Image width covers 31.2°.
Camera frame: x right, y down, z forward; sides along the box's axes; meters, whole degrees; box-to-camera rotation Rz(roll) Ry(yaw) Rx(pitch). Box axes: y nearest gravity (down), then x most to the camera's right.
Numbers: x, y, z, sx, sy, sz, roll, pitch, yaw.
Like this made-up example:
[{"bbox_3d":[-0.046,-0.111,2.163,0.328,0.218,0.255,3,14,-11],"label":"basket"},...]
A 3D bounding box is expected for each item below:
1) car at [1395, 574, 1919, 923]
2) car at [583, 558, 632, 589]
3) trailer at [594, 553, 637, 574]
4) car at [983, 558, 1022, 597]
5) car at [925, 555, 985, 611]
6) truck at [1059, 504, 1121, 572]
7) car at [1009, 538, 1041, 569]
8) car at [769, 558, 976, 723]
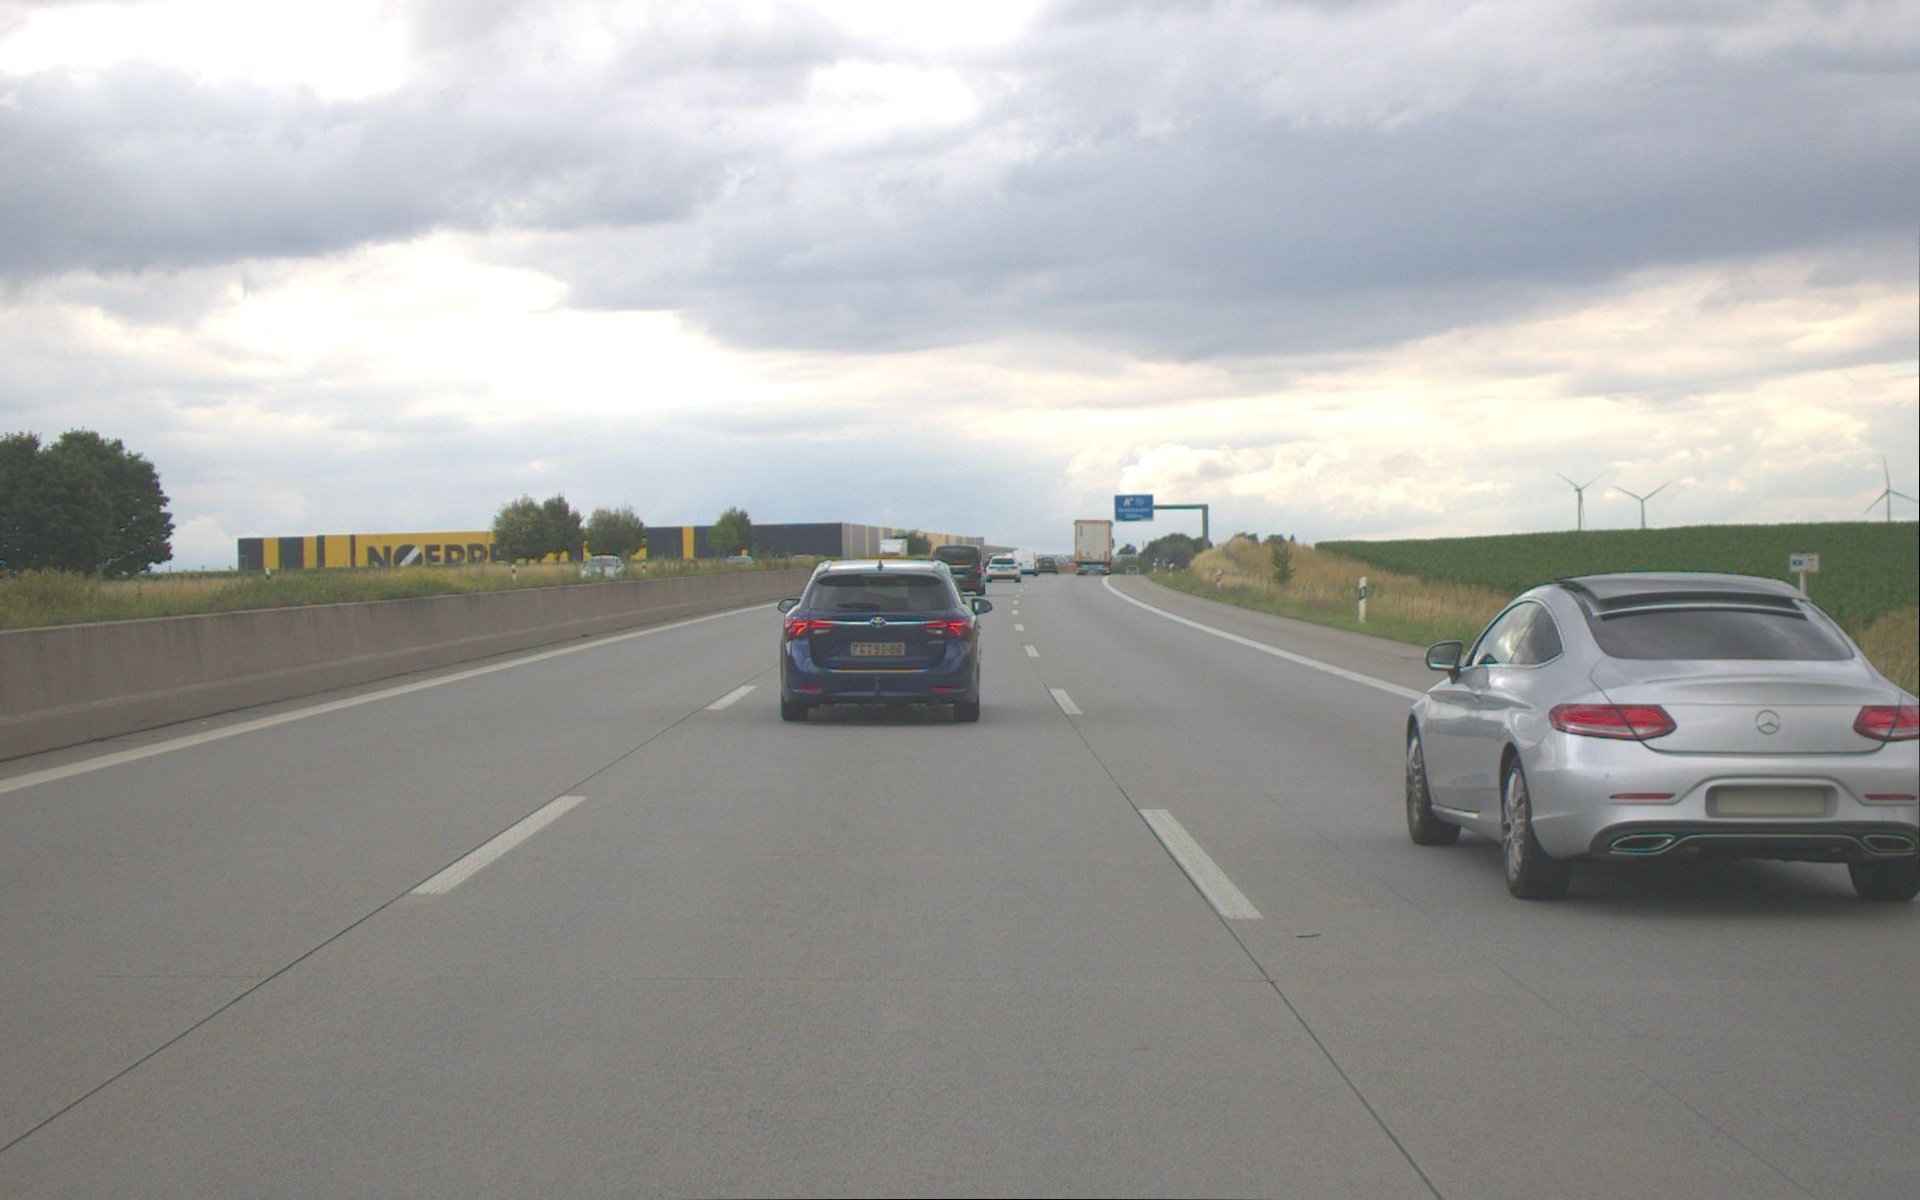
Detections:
[{"bbox_3d":[3.209,0.584,15.960,1.788,1.399,4.221,0,0,-1],"label":"car"},{"bbox_3d":[-17.548,-1.307,171.316,1.897,1.465,4.849,1,0,1],"label":"car"},{"bbox_3d":[-17.561,-1.862,175.525,1.787,0.980,3.563,1,0,1],"label":"trailer"},{"bbox_3d":[2.281,-1.231,184.419,1.993,2.007,4.000,2,1,1],"label":"car"},{"bbox_3d":[-0.188,-0.605,125.931,1.993,2.007,4.000,1,0,-2],"label":"car"},{"bbox_3d":[9.599,-4.521,254.901,3.950,4.740,12.076,1,0,-1],"label":"truck"},{"bbox_3d":[4.410,-3.179,234.356,1.993,2.007,4.000,1,0,-1],"label":"car"},{"bbox_3d":[-0.779,0.331,31.563,1.774,1.408,4.000,0,0,-1],"label":"car"}]
